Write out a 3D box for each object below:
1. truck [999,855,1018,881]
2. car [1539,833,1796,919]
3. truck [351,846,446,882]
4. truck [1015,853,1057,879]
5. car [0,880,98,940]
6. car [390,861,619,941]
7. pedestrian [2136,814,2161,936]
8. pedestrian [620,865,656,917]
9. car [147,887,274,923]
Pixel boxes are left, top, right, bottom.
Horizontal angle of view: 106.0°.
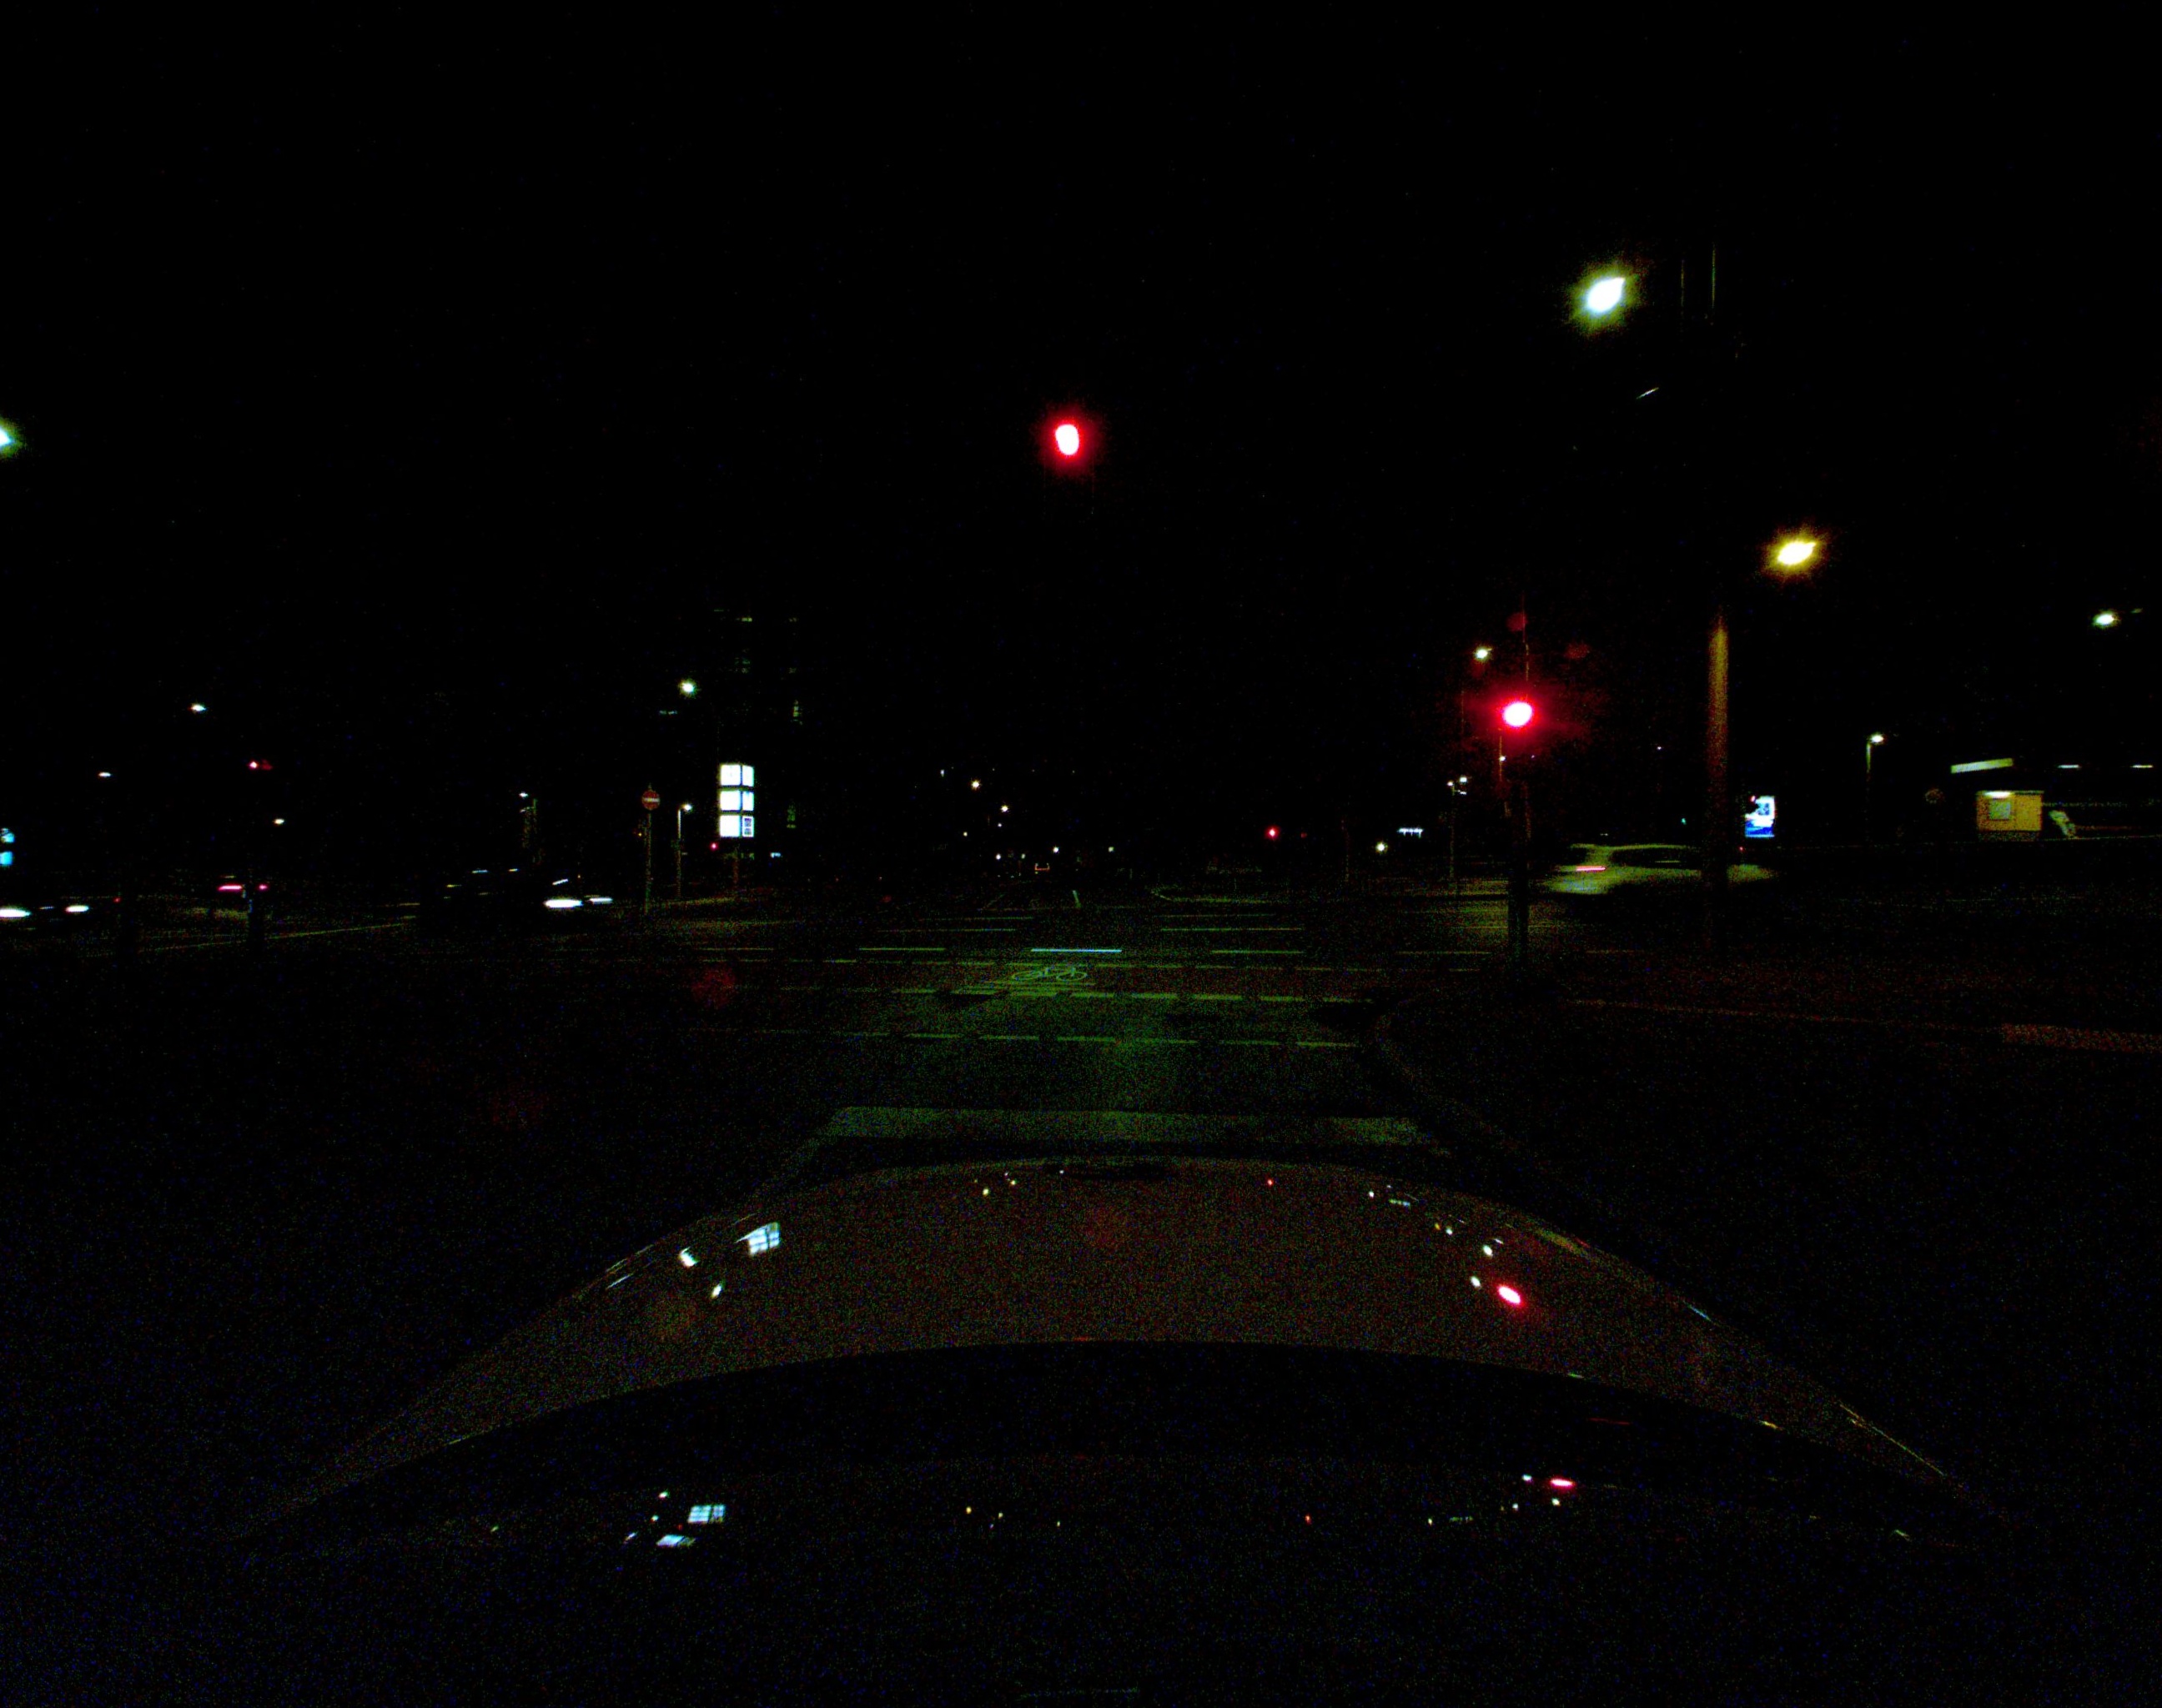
[{"bbox_3d":[-10.624,1.961,119.483,2.580,3.707,5.723,0,-1,-7],"label":"truck"},{"bbox_3d":[12.757,0.442,17.942,4.264,1.683,1.877,-2,1,3],"label":"car"},{"bbox_3d":[-59.696,0.875,71.350,5.873,3.088,2.915,0,-1,3],"label":"truck"},{"bbox_3d":[-8.539,2.229,151.657,4.835,4.547,12.591,0,-1,-17],"label":"truck"},{"bbox_3d":[-33.696,1.737,25.332,4.420,1.659,1.869,-1,1,8],"label":"car"},{"bbox_3d":[-14.055,1.123,20.005,4.323,1.651,1.812,-3,0,4],"label":"car"},{"bbox_3d":[15.805,0.277,11.435,0.752,1.745,0.834,-3,-2,1],"label":"pedestrian"},{"bbox_3d":[-13.997,1.155,25.728,0.667,1.634,0.862,0,-1,-3],"label":"pedestrian"},{"bbox_3d":[-44.549,2.606,41.731,4.595,1.728,2.003,0,-1,5],"label":"car"}]
